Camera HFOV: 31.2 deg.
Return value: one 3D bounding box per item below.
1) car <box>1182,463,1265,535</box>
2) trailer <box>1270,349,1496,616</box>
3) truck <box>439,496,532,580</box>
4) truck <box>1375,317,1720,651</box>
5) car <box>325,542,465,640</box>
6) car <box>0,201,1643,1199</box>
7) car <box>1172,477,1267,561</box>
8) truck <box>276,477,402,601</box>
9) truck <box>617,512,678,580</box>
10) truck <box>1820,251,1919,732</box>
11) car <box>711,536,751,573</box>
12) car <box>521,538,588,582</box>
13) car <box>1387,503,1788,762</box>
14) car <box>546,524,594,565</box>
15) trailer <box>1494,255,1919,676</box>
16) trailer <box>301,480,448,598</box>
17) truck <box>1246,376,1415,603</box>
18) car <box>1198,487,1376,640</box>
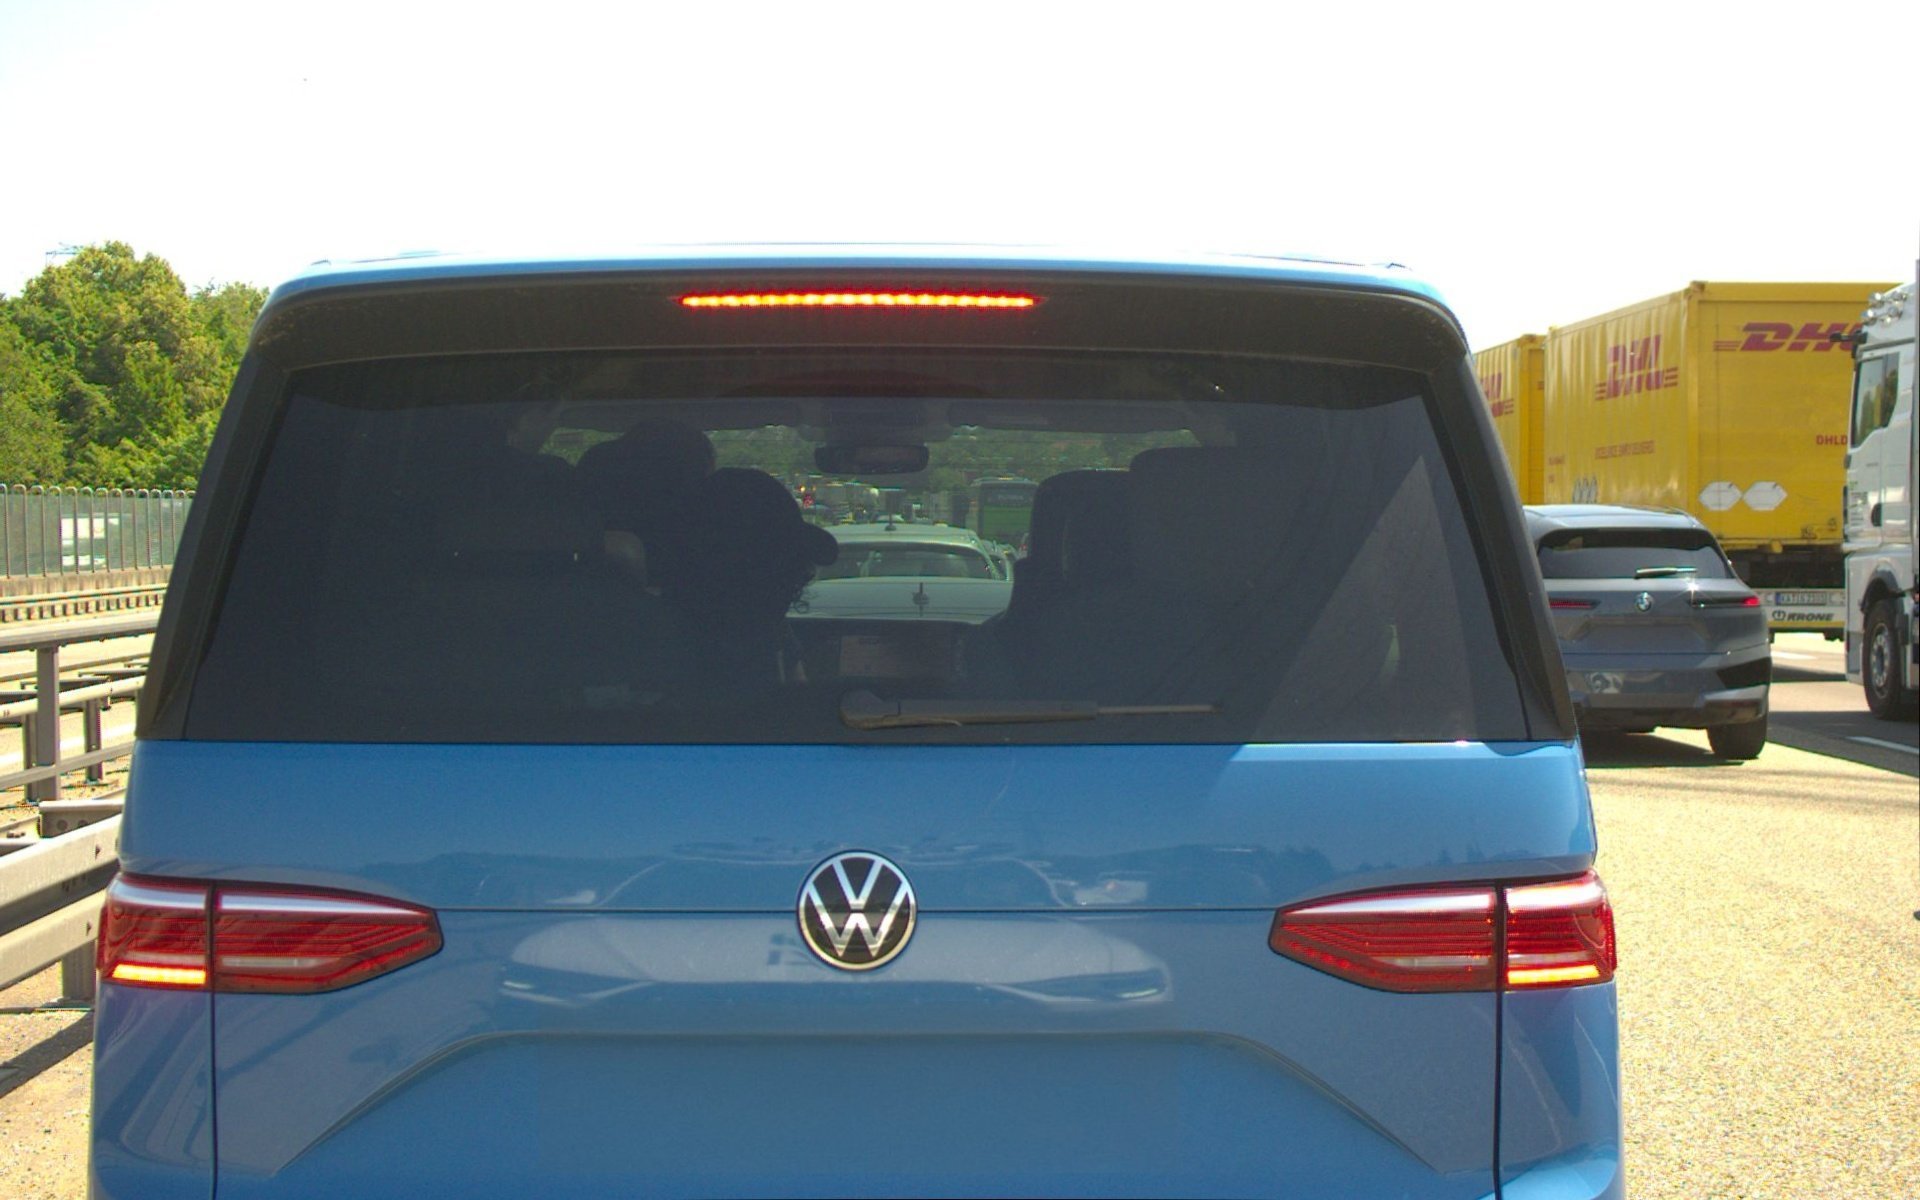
[{"bbox_3d":[7.562,-2.891,99.075,1.993,2.007,4.461,-1,1,0],"label":"car"},{"bbox_3d":[7.718,-2.112,64.212,2.637,4.501,11.302,1,1,-1],"label":"trailer"},{"bbox_3d":[-19.039,-2.486,138.352,2.518,3.100,8.724,-4,1,-1],"label":"truck"},{"bbox_3d":[8.159,-1.572,49.371,2.836,4.228,11.011,1,1,-1],"label":"truck"},{"bbox_3d":[-9.089,-0.167,55.541,1.619,1.459,3.702,-2,1,0],"label":"car"},{"bbox_3d":[-0.226,0.488,5.636,1.820,1.851,4.075,1,1,-1],"label":"car"},{"bbox_3d":[6.424,-1.992,85.402,1.993,2.007,4.000,1,1,-1],"label":"car"},{"bbox_3d":[-17.793,-1.743,98.759,2.497,3.354,5.834,-2,1,-1],"label":"truck"},{"bbox_3d":[-16.184,-2.787,178.470,2.561,3.348,8.865,-2,1,-2],"label":"truck"},{"bbox_3d":[8.629,-0.765,23.274,2.656,3.635,11.011,0,1,-1],"label":"truck"},{"bbox_3d":[-12.853,-2.558,193.149,1.993,2.007,4.312,1,1,-1],"label":"car"},{"bbox_3d":[-14.367,-1.418,122.013,1.863,1.439,4.131,-3,1,0],"label":"car"},{"bbox_3d":[4.255,0.166,24.000,1.962,1.639,4.293,0,1,-1],"label":"car"},{"bbox_3d":[-21.273,-3.037,187.441,2.082,2.142,4.312,-2,1,0],"label":"car"},{"bbox_3d":[8.324,-1.420,39.354,2.864,4.224,9.012,1,1,-1],"label":"trailer"},{"bbox_3d":[-17.916,-1.874,105.891,2.481,3.332,12.074,-2,1,-1],"label":"trailer"},{"bbox_3d":[7.641,-2.242,71.638,2.667,4.469,6.850,1,1,0],"label":"truck"},{"bbox_3d":[4.389,-0.516,46.701,1.962,1.986,4.293,0,1,-1],"label":"car"}]
